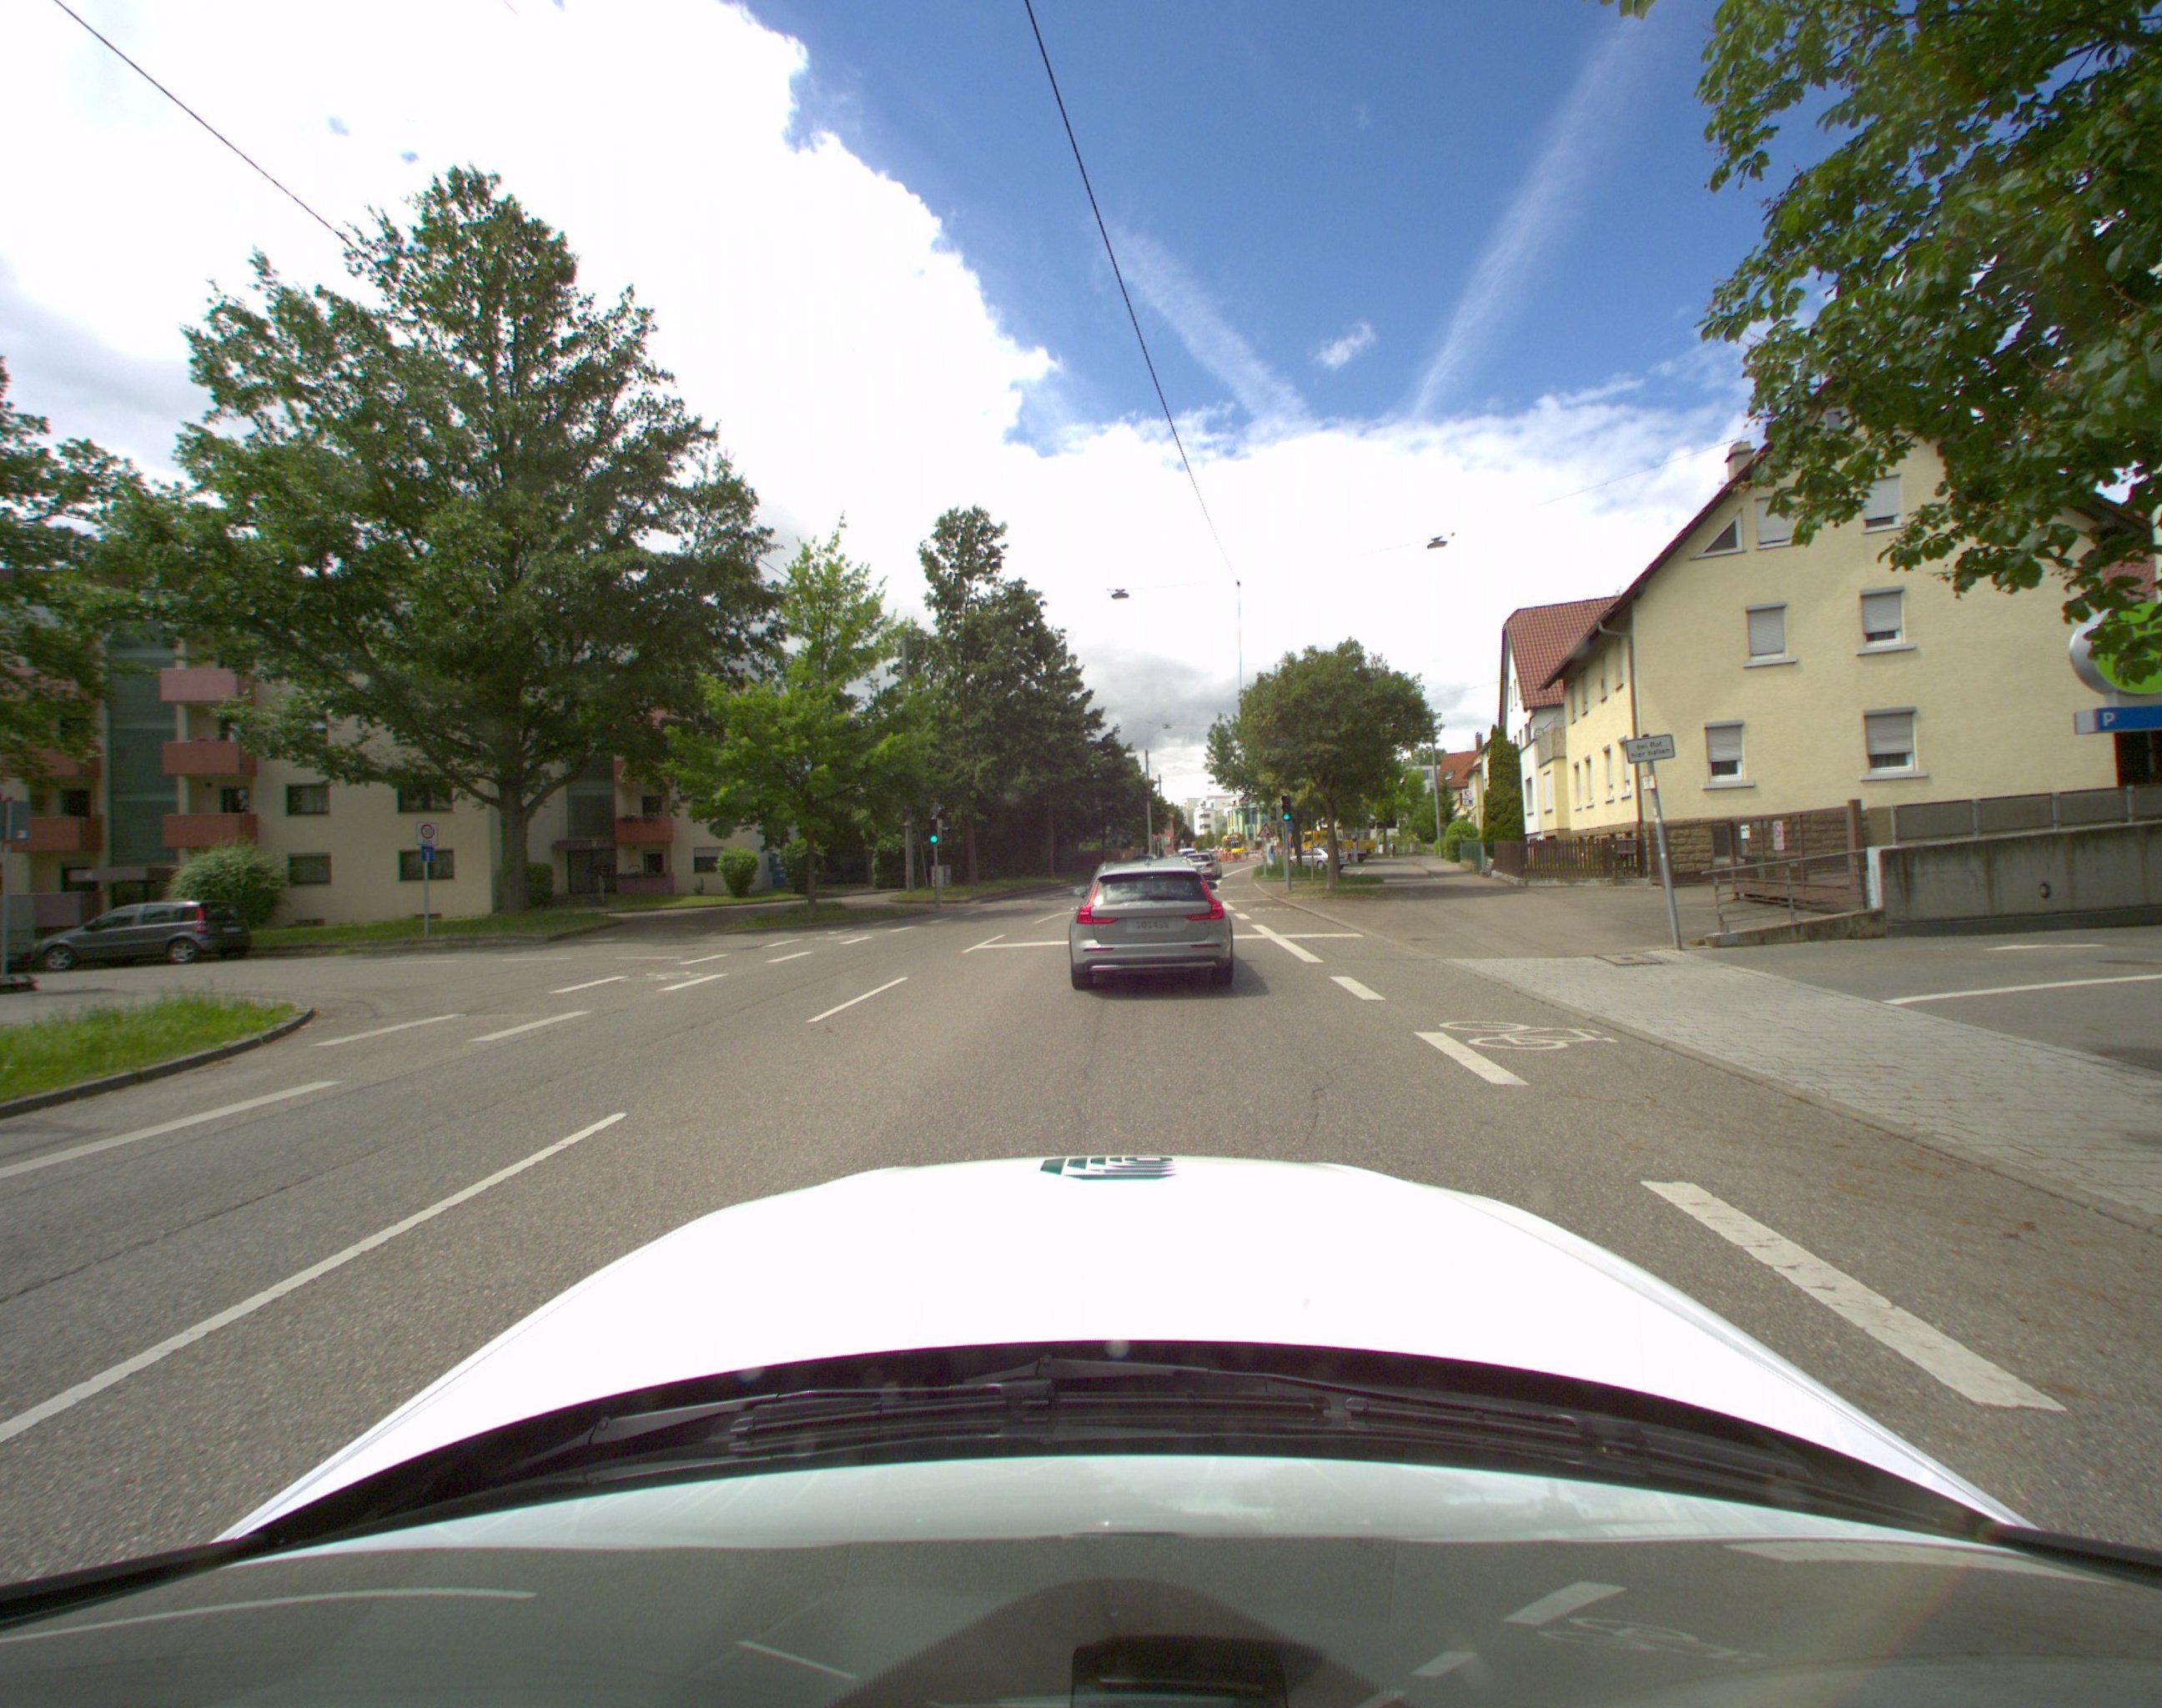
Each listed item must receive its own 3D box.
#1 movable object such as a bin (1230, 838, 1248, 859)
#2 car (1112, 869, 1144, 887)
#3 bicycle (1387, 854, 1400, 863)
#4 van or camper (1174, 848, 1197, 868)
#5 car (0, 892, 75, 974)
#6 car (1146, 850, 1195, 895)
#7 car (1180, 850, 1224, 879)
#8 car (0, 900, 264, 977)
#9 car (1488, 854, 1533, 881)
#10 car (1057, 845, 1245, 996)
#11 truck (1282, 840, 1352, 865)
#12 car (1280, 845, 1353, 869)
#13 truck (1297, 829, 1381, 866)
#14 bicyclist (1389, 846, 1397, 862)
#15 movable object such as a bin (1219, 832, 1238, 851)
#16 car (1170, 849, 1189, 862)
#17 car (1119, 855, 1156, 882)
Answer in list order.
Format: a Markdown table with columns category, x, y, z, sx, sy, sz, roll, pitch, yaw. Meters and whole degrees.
| category | x | y | z | sx | sy | sz | roll | pitch | yaw |
| --- | --- | --- | --- | --- | --- | --- | --- | --- | --- |
| movable object such as a bin | 21.087 | -0.790 | 108.272 | 2.020 | 2.643 | 5.961 | -3 | 0 | 13 |
| car | 3.530 | 1.781 | 60.128 | 1.817 | 1.330 | 4.012 | 0 | -2 | 11 |
| bicycle | 29.998 | 0.417 | 78.116 | 0.592 | 0.812 | 1.754 | 0 | -1 | 1 |
| van or camper | 10.104 | 0.378 | 78.556 | 1.848 | 1.776 | 4.394 | -2 | 0 | 12 |
| car | -27.181 | 2.021 | 19.185 | 3.990 | 1.844 | 1.838 | -5 | 0 | -12 |
| car | 3.162 | 0.634 | 29.334 | 1.653 | 1.508 | 3.707 | 0 | -1 | 4 |
| car | 6.624 | 0.566 | 44.266 | 2.088 | 1.510 | 4.013 | 0 | -1 | 12 |
| car | -22.870 | 1.990 | 19.700 | 3.995 | 1.452 | 1.687 | -3 | 0 | -16 |
| car | 19.034 | 0.588 | 36.193 | 1.449 | 1.124 | 3.893 | 0 | -1 | 23 |
| car | 0.903 | 0.720 | 10.522 | 1.919 | 1.540 | 4.005 | -2 | -1 | 5 |
| truck | 19.635 | -0.086 | 68.009 | 2.007 | 2.014 | 5.619 | 1 | -1 | -33 |
| car | 15.392 | 0.233 | 53.363 | 1.773 | 1.451 | 4.644 | -2 | 0 | -30 |
| truck | 21.944 | -0.507 | 69.633 | 2.780 | 3.008 | 6.638 | 1 | -1 | -32 |
| bicyclist | 29.964 | 0.012 | 78.156 | 0.587 | 1.559 | 0.566 | 0 | -1 | 1 |
| movable object such as a bin | 23.834 | -1.986 | 131.596 | 2.299 | 2.990 | 6.436 | -3 | 0 | 5 |
| car | 13.768 | 0.209 | 113.978 | 1.866 | 1.687 | 4.265 | -4 | -1 | 16 |
| car | 3.663 | 0.929 | 52.107 | 1.888 | 1.580 | 4.010 | -3 | -1 | 9 |
